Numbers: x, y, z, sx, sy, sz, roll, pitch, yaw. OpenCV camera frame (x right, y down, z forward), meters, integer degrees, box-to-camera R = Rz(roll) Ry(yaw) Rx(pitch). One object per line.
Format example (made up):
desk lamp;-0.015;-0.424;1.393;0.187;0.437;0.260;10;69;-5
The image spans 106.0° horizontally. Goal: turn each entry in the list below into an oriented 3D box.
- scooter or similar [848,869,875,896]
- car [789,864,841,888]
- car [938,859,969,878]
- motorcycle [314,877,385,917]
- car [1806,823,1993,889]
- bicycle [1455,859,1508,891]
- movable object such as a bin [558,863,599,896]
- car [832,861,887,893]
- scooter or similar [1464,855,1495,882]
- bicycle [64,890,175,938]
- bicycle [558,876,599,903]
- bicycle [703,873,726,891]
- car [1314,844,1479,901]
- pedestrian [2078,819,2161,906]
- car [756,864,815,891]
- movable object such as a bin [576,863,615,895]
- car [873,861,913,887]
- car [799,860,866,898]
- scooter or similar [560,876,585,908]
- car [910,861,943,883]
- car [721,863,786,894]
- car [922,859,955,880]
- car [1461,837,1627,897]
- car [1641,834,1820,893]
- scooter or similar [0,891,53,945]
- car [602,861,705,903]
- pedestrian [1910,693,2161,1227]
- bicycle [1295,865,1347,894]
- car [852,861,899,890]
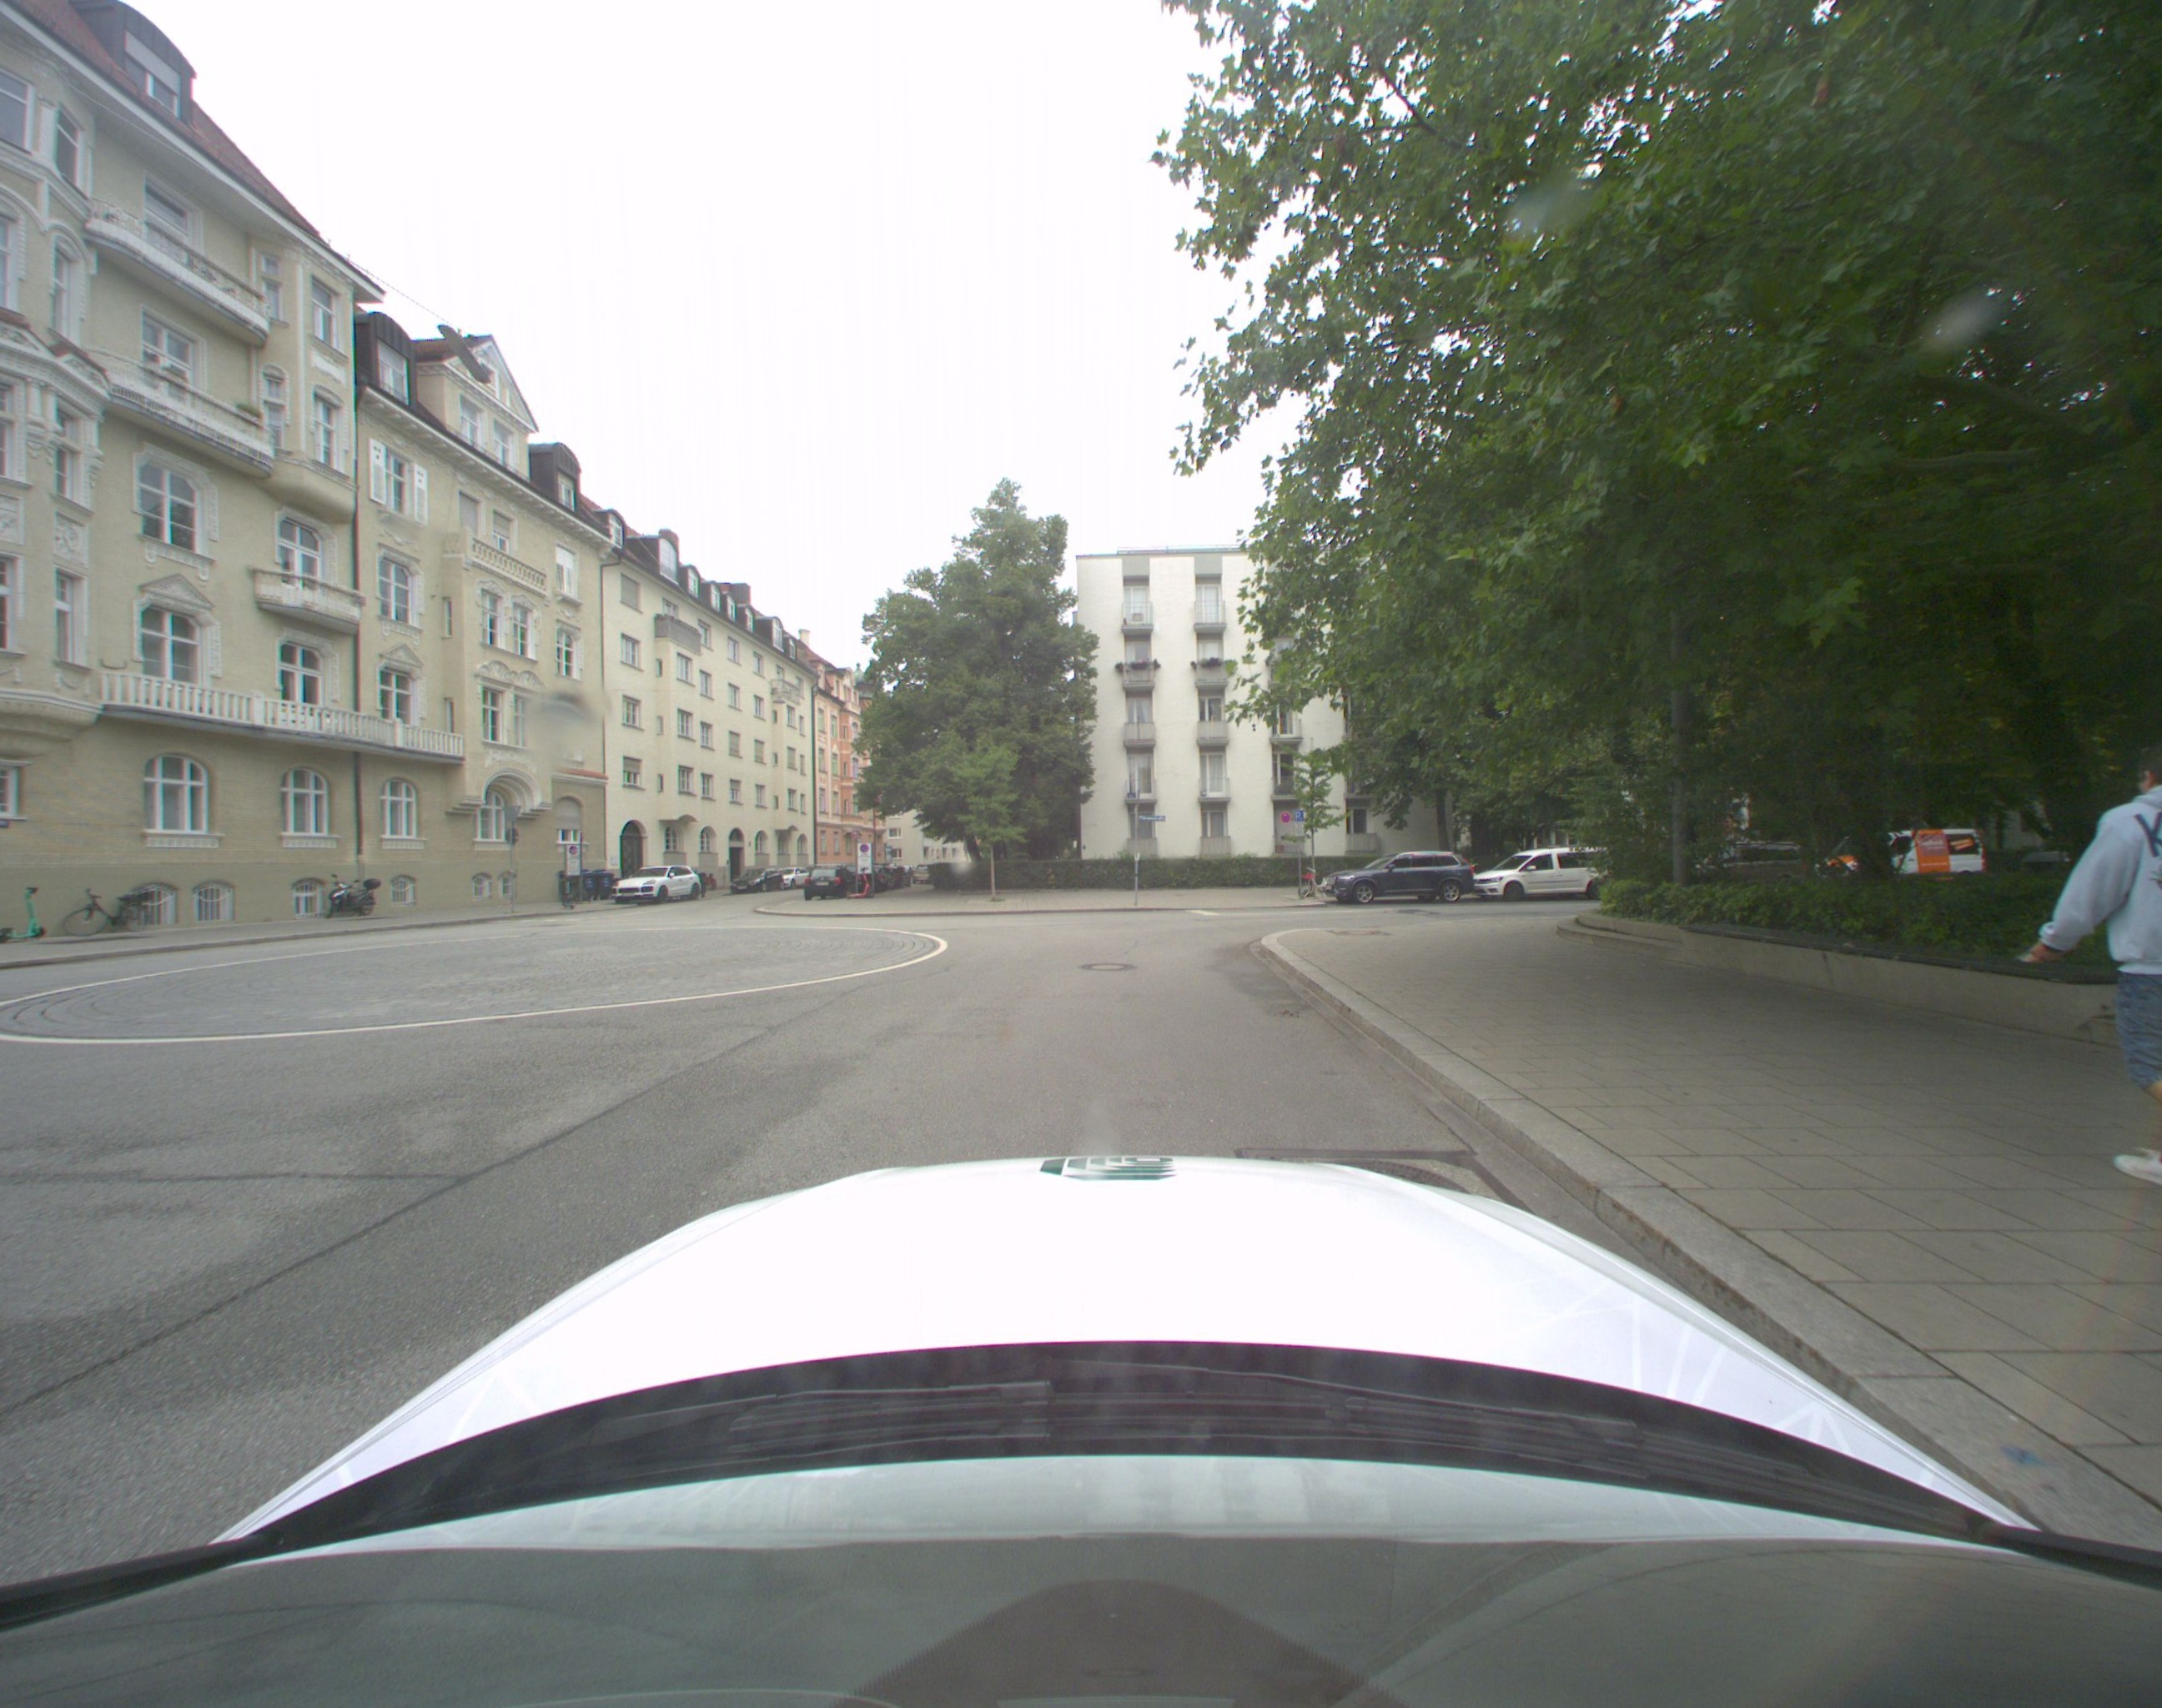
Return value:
scooter or similar;-9.017;1.172;33.469;1.004;1.088;0.387;-1;-1;-26
car;-18.584;1.492;57.175;1.967;1.581;4.411;-1;0;3
car;-11.449;1.273;73.240;1.827;1.634;3.824;-3;0;4
motorcycle;-23.528;1.365;26.225;0.596;1.176;1.830;-1;0;1
car;29.885;0.078;29.816;5.219;2.273;1.949;-1;-1;-6
bicycle;14.970;0.777;30.472;0.538;1.149;1.815;-1;0;-26
movable object such as a bin;-22.844;1.159;37.047;1.086;1.425;1.174;-1;0;3
car;-11.212;1.128;41.494;1.790;1.505;4.229;-2;0;-4
scooter or similar;17.813;0.635;36.412;1.208;1.193;0.400;-1;-1;-1
bicycle;-23.838;1.460;20.239;0.561;1.049;1.830;-1;0;1
bicycle;-21.098;1.471;34.221;0.561;1.049;1.830;-1;0;1
bicycle;-23.006;1.774;51.171;0.561;1.049;1.830;-1;0;1
car;10.710;0.630;27.875;4.886;1.792;1.997;-1;-1;-4
pedestrian;22.788;0.184;17.749;1.047;1.831;0.875;-1;-1;-5
car;-18.781;1.435;52.008;1.967;1.581;4.411;-1;0;3
movable object such as a bin;-22.773;1.154;38.243;1.086;1.425;1.174;-1;0;3
car;-11.917;1.255;51.846;1.790;1.505;4.110;-2;0;-4
car;-10.969;1.073;36.241;1.815;1.505;4.416;-2;0;-4
scooter or similar;-19.591;1.458;31.352;1.200;1.193;0.470;-1;-1;40
car;-11.909;1.380;62.962;1.830;1.505;4.112;-2;0;-2
car;-18.873;1.364;47.123;1.970;1.616;4.709;-1;0;-2
car;-11.790;1.268;67.576;1.828;1.634;4.117;-3;0;2
car;16.050;0.459;28.362;4.824;1.918;1.832;-1;-1;-5
car;22.989;0.344;28.902;5.187;1.933;1.888;-1;-1;-8
scooter or similar;-23.653;1.415;18.187;0.469;1.115;1.203;0;-1;-31
car;-19.033;1.198;36.558;1.968;1.701;4.841;-1;0;1
pedestrian;4.094;0.347;3.080;0.868;1.771;1.055;-1;-1;12
bicycle;8.938;0.941;30.330;1.824;1.049;0.490;-1;0;-10
car;-11.551;1.183;46.069;1.790;1.505;4.110;-2;0;-4
